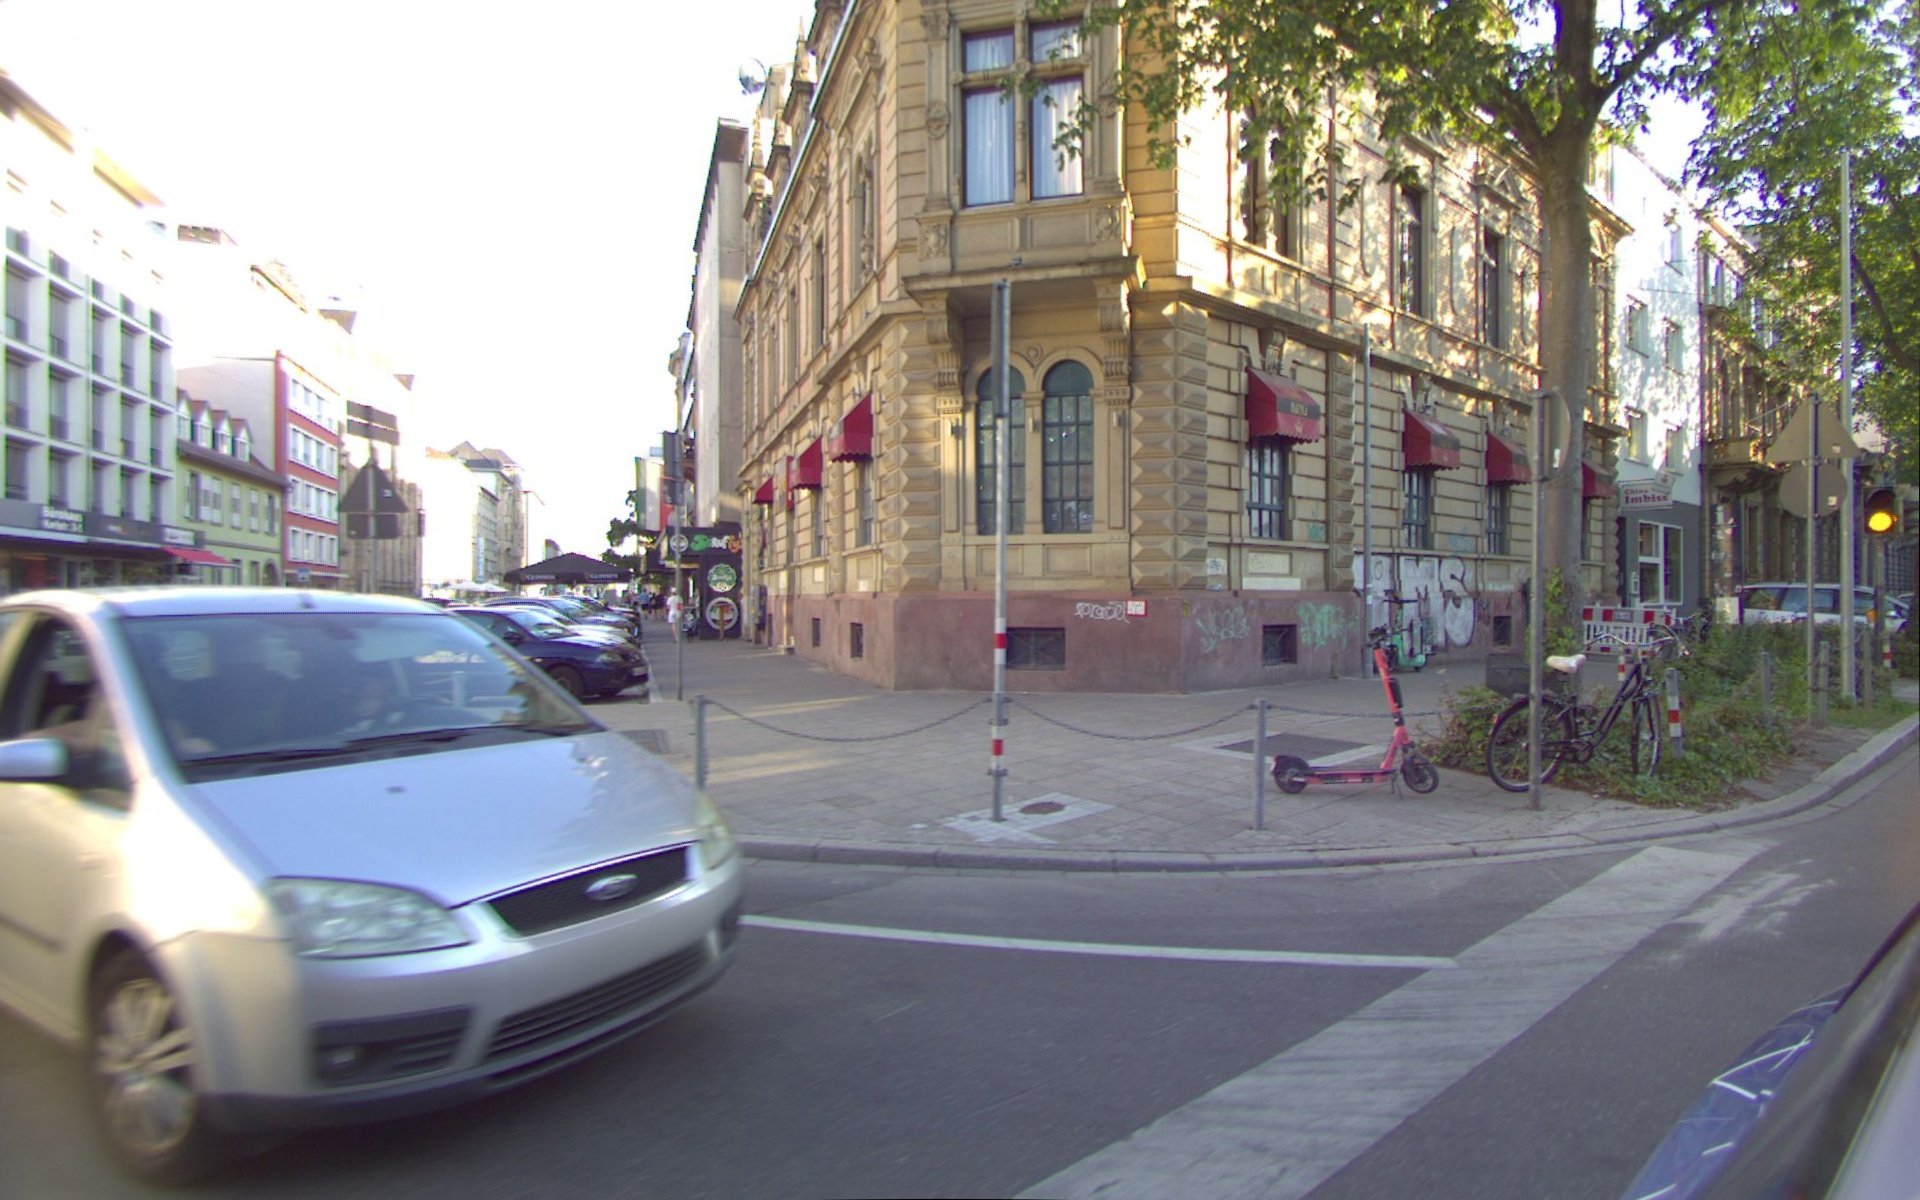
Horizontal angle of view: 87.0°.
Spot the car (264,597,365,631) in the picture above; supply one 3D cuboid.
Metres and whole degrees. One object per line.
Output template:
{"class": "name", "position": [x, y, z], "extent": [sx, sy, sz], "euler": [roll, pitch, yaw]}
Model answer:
{"class": "car", "position": [-31.631, 0.662, 49.644], "extent": [4.104, 1.543, 1.775], "euler": [-1, 1, -35]}

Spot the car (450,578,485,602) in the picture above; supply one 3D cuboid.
{"class": "car", "position": [-43.838, -0.853, 90.085], "extent": [2.306, 2.039, 4.549], "euler": [-1, 0, -20]}

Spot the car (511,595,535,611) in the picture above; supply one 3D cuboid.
{"class": "car", "position": [-38.819, 0.271, 89.878], "extent": [1.707, 1.390, 4.007], "euler": [-1, 0, -20]}

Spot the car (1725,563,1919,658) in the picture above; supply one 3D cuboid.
{"class": "car", "position": [19.653, 0.188, 21.999], "extent": [1.917, 1.939, 4.546], "euler": [0, 1, -42]}

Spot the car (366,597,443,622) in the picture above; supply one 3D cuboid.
{"class": "car", "position": [-36.239, 0.582, 66.088], "extent": [4.114, 1.543, 1.771], "euler": [-1, 1, -44]}

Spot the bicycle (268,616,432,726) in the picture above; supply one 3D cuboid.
{"class": "bicycle", "position": [-7.279, 0.810, 12.201], "extent": [0.812, 1.149, 1.832], "euler": [-1, 1, 2]}

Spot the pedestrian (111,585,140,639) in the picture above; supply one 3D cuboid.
{"class": "pedestrian", "position": [-31.730, 0.437, 38.473], "extent": [0.665, 2.039, 0.621], "euler": [0, 0, -18]}

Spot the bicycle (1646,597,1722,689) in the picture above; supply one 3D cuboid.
{"class": "bicycle", "position": [10.160, 0.558, 14.171], "extent": [0.523, 1.167, 2.213], "euler": [0, 0, 45]}

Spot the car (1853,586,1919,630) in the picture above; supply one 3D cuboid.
{"class": "car", "position": [32.865, 0.283, 33.596], "extent": [1.890, 1.455, 4.595], "euler": [0, 1, -38]}

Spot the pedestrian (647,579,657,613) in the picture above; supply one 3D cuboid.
{"class": "pedestrian", "position": [-18.735, -0.236, 61.544], "extent": [0.552, 2.039, 0.588], "euler": [-1, -1, -14]}

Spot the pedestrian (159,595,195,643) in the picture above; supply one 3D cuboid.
{"class": "pedestrian", "position": [-34.185, 0.805, 44.202], "extent": [0.891, 2.039, 1.104], "euler": [-1, 0, -18]}

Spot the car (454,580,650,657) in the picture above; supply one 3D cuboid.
{"class": "car", "position": [-9.796, 0.416, 24.426], "extent": [4.072, 1.747, 1.775], "euler": [0, 0, 10]}

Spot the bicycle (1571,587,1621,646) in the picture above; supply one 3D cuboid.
{"class": "bicycle", "position": [13.679, 0.341, 21.762], "extent": [1.694, 1.226, 0.386], "euler": [-1, 1, -39]}

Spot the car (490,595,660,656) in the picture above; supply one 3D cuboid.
{"class": "car", "position": [-10.560, 0.670, 27.871], "extent": [4.072, 1.559, 1.775], "euler": [0, 0, 10]}

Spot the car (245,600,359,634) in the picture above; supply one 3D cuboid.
{"class": "car", "position": [-30.319, 0.755, 46.708], "extent": [1.769, 1.386, 4.120], "euler": [0, 1, 42]}

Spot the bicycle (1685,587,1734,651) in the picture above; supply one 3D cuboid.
{"class": "bicycle", "position": [15.184, 0.361, 20.501], "extent": [1.694, 1.250, 0.386], "euler": [-1, 1, -39]}

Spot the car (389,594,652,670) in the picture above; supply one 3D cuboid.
{"class": "car", "position": [-9.216, 0.637, 21.365], "extent": [4.896, 1.476, 1.869], "euler": [0, -1, 11]}

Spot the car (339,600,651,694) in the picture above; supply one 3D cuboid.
{"class": "car", "position": [-8.271, 0.774, 18.147], "extent": [4.914, 1.476, 1.981], "euler": [1, 0, 13]}

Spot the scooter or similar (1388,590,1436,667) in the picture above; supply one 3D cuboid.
{"class": "scooter or similar", "position": [7.247, 0.444, 16.201], "extent": [1.073, 1.209, 0.251], "euler": [1, -1, -40]}

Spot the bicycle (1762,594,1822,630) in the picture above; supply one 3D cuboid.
{"class": "bicycle", "position": [17.304, 0.247, 21.020], "extent": [2.289, 0.673, 0.582], "euler": [-2, 0, -41]}

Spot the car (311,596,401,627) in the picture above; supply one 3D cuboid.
{"class": "car", "position": [-32.742, 0.592, 54.882], "extent": [4.104, 1.543, 1.775], "euler": [-1, 1, -35]}

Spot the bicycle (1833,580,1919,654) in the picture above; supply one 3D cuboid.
{"class": "bicycle", "position": [22.072, 0.381, 23.144], "extent": [0.647, 1.684, 3.115], "euler": [0, -1, -44]}

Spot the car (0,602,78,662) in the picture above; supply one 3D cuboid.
{"class": "car", "position": [-24.405, 0.791, 25.462], "extent": [1.738, 1.386, 4.192], "euler": [0, 1, -17]}

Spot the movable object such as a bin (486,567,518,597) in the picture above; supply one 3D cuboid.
{"class": "movable object such as a bin", "position": [-48.407, -1.917, 107.070], "extent": [2.306, 2.993, 5.584], "euler": [-1, 0, -18]}

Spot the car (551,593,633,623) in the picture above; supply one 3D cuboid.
{"class": "car", "position": [-19.642, 0.423, 54.235], "extent": [4.051, 1.580, 1.784], "euler": [0, 0, -18]}

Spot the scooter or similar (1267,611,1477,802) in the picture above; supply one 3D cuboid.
{"class": "scooter or similar", "position": [2.832, 0.710, 7.043], "extent": [1.252, 1.259, 0.505], "euler": [0, 0, 7]}

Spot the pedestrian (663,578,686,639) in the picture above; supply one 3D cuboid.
{"class": "pedestrian", "position": [-8.562, 0.252, 30.335], "extent": [0.621, 1.785, 0.737], "euler": [0, 0, -19]}

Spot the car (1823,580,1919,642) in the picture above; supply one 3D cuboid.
{"class": "car", "position": [25.607, 0.287, 26.532], "extent": [1.934, 1.580, 4.237], "euler": [0, 1, -37]}

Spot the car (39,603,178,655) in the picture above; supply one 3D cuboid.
{"class": "car", "position": [-26.022, 0.830, 31.117], "extent": [1.738, 1.386, 4.192], "euler": [0, 1, -17]}

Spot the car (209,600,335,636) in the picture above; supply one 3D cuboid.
{"class": "car", "position": [-29.310, 0.732, 43.231], "extent": [1.763, 1.386, 4.133], "euler": [0, 1, 33]}

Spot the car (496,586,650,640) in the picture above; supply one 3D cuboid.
{"class": "car", "position": [-11.731, 0.374, 30.882], "extent": [4.056, 1.580, 1.782], "euler": [0, 0, -5]}

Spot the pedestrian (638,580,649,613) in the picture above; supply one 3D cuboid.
{"class": "pedestrian", "position": [-19.379, -0.219, 61.948], "extent": [0.553, 2.039, 0.588], "euler": [-1, -1, -13]}

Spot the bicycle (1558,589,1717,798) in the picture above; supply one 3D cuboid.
{"class": "bicycle", "position": [4.865, 0.618, 7.254], "extent": [1.262, 1.389, 0.418], "euler": [0, 1, -29]}

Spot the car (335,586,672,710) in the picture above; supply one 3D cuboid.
{"class": "car", "position": [-6.633, 0.675, 14.911], "extent": [4.206, 1.430, 1.709], "euler": [-4, 0, 7]}

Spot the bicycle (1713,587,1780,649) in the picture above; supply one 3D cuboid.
{"class": "bicycle", "position": [16.780, 0.363, 21.574], "extent": [2.120, 1.255, 0.582], "euler": [-1, 0, -37]}

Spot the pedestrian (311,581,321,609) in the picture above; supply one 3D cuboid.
{"class": "pedestrian", "position": [-39.848, -0.298, 62.604], "extent": [0.418, 1.728, 0.499], "euler": [1, -1, -27]}

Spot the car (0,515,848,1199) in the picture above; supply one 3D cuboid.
{"class": "car", "position": [-2.716, 0.659, 4.019], "extent": [4.318, 1.674, 1.865], "euler": [0, 0, 32]}
